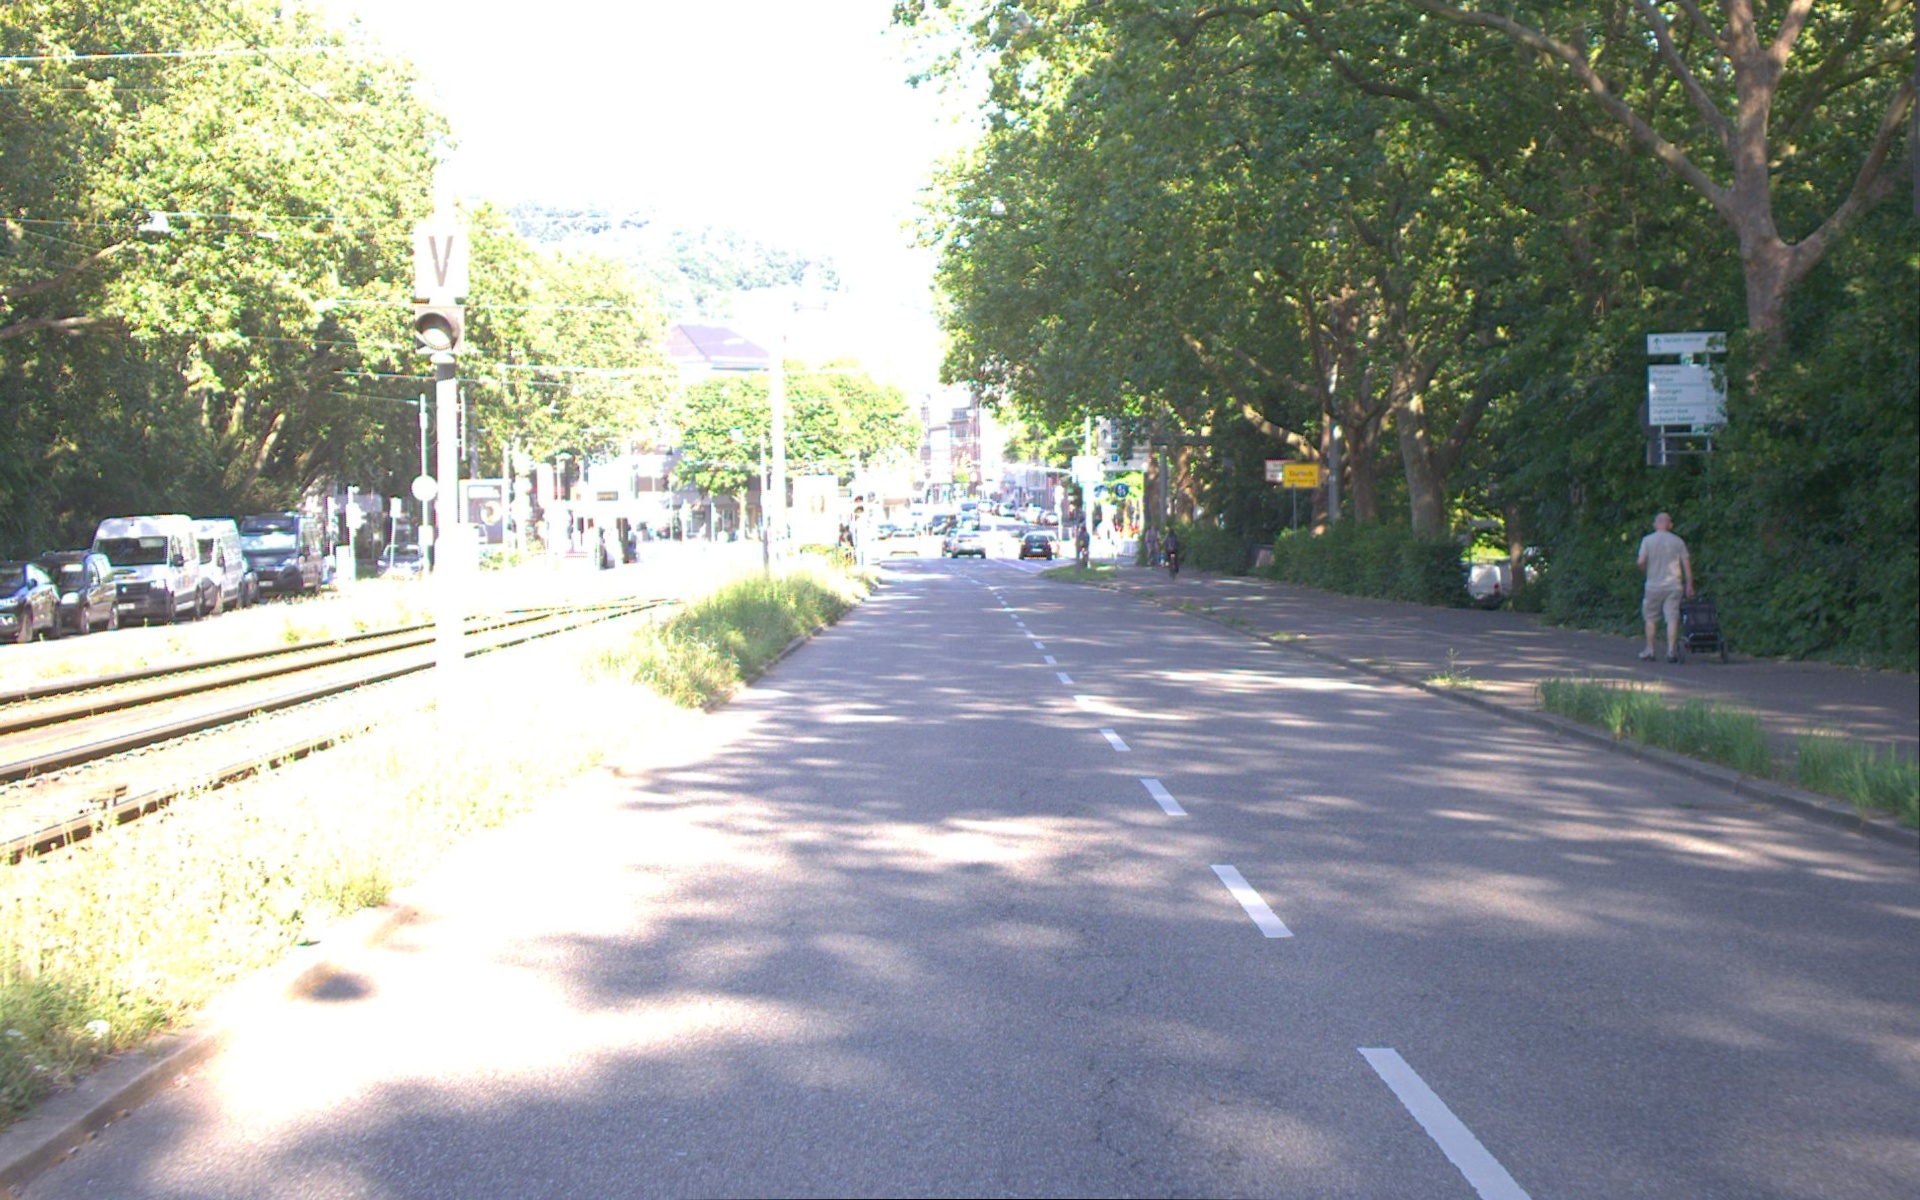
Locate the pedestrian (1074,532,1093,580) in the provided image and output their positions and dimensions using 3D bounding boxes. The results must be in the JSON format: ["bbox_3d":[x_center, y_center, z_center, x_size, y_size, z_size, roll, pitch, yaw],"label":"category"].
[{"bbox_3d":[4.856,-1.735,135.092,0.657,1.864,0.678,-1,1,-2],"label":"pedestrian"}]

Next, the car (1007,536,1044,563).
[{"bbox_3d":[3.539,-2.763,186.761,1.800,1.434,4.046,1,1,-2],"label":"car"}]

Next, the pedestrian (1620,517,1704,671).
[{"bbox_3d":[7.707,-0.073,37.768,0.648,1.630,0.928,-3,1,0],"label":"pedestrian"}]

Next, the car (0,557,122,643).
[{"bbox_3d":[-19.259,-0.016,73.775,1.739,1.722,3.883,-3,1,-3],"label":"car"}]

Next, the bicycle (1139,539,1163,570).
[{"bbox_3d":[7.143,-1.705,128.428,0.699,1.104,1.930,-1,1,-3],"label":"bicycle"}]

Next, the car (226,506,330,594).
[{"bbox_3d":[-20.774,-1.507,104.948,2.183,2.512,6.033,-3,1,-3],"label":"car"}]

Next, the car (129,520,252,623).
[{"bbox_3d":[-20.113,-0.761,90.104,2.183,2.512,6.273,-3,1,-5],"label":"car"}]

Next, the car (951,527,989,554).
[{"bbox_3d":[0.548,-3.308,191.717,1.929,1.467,4.855,0,1,-2],"label":"car"}]

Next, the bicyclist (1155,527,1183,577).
[{"bbox_3d":[6.342,-1.453,104.385,0.766,1.507,0.650,-1,1,-2],"label":"bicyclist"}]

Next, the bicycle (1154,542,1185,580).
[{"bbox_3d":[6.351,-1.194,104.385,0.766,1.104,1.800,-1,1,-2],"label":"bicycle"}]

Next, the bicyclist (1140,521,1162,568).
[{"bbox_3d":[7.140,-2.083,128.423,0.699,1.722,1.080,-1,1,-3],"label":"bicyclist"}]

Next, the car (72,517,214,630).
[{"bbox_3d":[-19.454,-0.642,82.148,2.183,2.512,6.051,-3,1,-3],"label":"car"}]

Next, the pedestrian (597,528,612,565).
[{"bbox_3d":[-15.239,-2.291,147.252,0.593,1.538,0.627,0,0,-1],"label":"pedestrian"}]

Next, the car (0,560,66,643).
[{"bbox_3d":[-18.819,0.038,67.376,1.739,1.550,3.883,-3,1,-3],"label":"car"}]

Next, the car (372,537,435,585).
[{"bbox_3d":[-20.670,-1.446,127.840,1.902,1.646,3.973,-3,1,-4],"label":"car"}]

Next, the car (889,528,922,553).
[{"bbox_3d":[-3.199,-3.495,200.774,1.808,1.447,4.001,0,1,-2],"label":"car"}]

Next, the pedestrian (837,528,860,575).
[{"bbox_3d":[-3.810,-1.647,117.545,0.520,1.563,0.507,-3,1,29],"label":"pedestrian"}]
